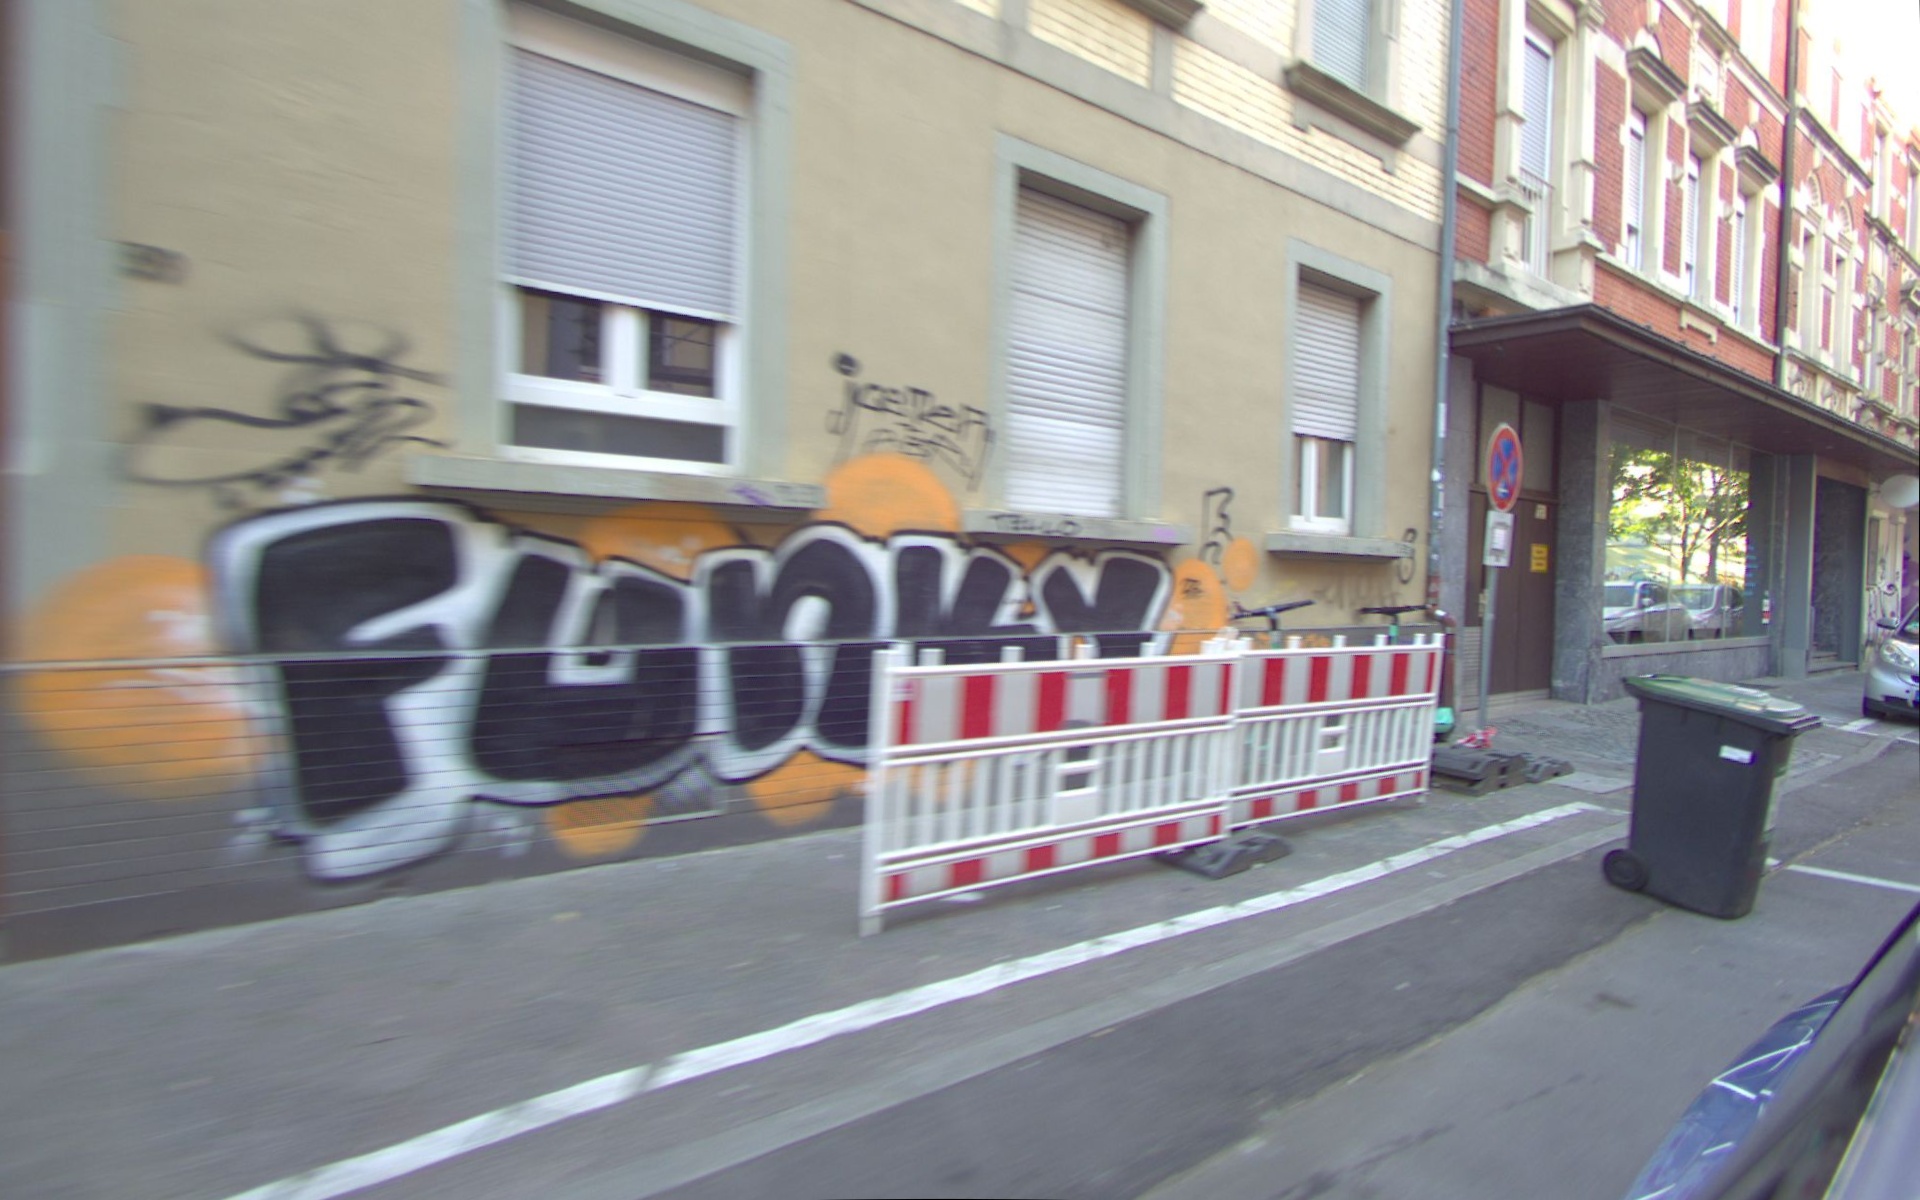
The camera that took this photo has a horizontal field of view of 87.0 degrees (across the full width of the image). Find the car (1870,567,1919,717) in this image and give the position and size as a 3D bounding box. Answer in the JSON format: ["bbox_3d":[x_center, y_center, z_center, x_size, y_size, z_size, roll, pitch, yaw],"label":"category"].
[{"bbox_3d":[11.798,0.515,11.384,3.399,1.551,1.528,0,8,-37],"label":"car"}]

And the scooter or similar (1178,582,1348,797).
[{"bbox_3d":[2.031,0.524,6.688,0.454,1.223,1.423,7,6,40],"label":"scooter or similar"}]

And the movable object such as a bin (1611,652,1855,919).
[{"bbox_3d":[3.723,0.833,4.890,0.674,1.070,0.743,0,3,-37],"label":"movable object such as a bin"}]

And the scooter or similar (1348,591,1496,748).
[{"bbox_3d":[3.777,0.526,8.229,1.418,1.157,0.389,0,6,-38],"label":"scooter or similar"}]
